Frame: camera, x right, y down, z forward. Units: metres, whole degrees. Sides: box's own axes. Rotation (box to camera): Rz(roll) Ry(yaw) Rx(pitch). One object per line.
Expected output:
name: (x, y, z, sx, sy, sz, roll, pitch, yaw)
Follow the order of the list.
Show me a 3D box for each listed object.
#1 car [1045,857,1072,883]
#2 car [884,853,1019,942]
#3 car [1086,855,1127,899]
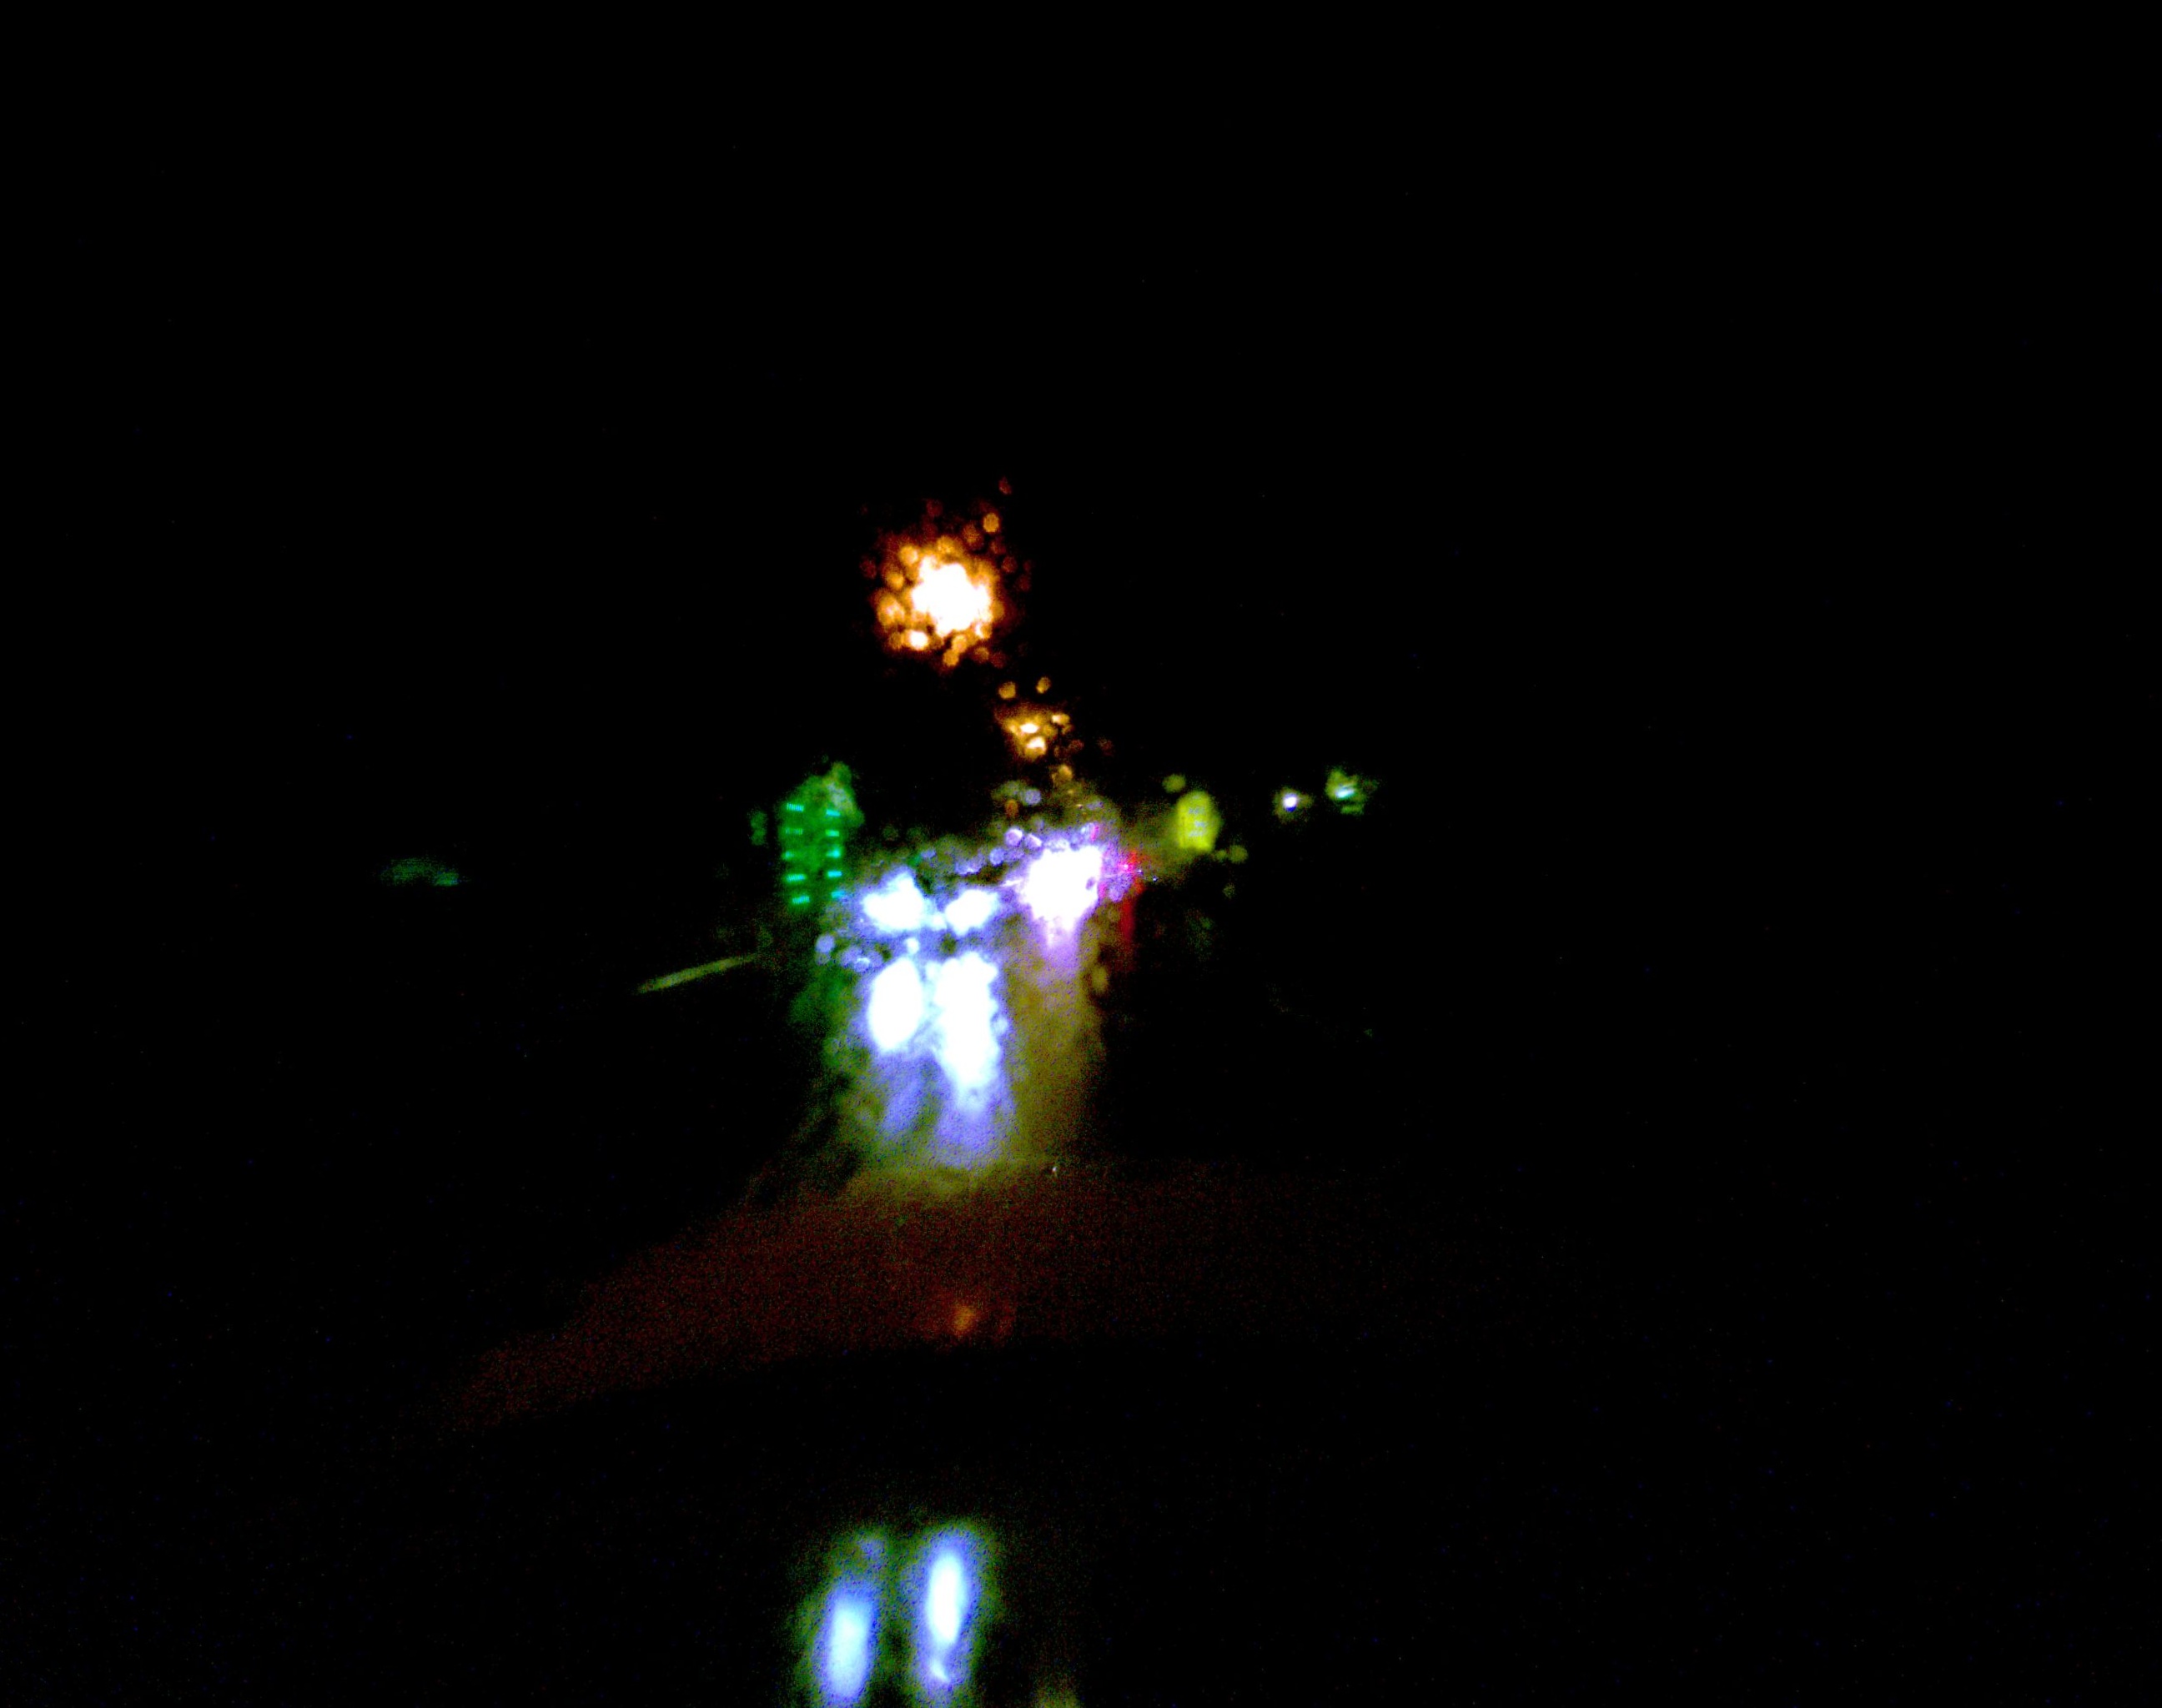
car: (-1.452, 1.023, 53.825, 1.514, 1.549, 4.057, -1, 1, 2)
car: (-2.364, 0.737, 15.996, 1.742, 1.480, 4.478, -1, 0, 2)
car: (1.134, 0.955, 35.355, 1.629, 1.758, 4.148, -1, 0, 2)
